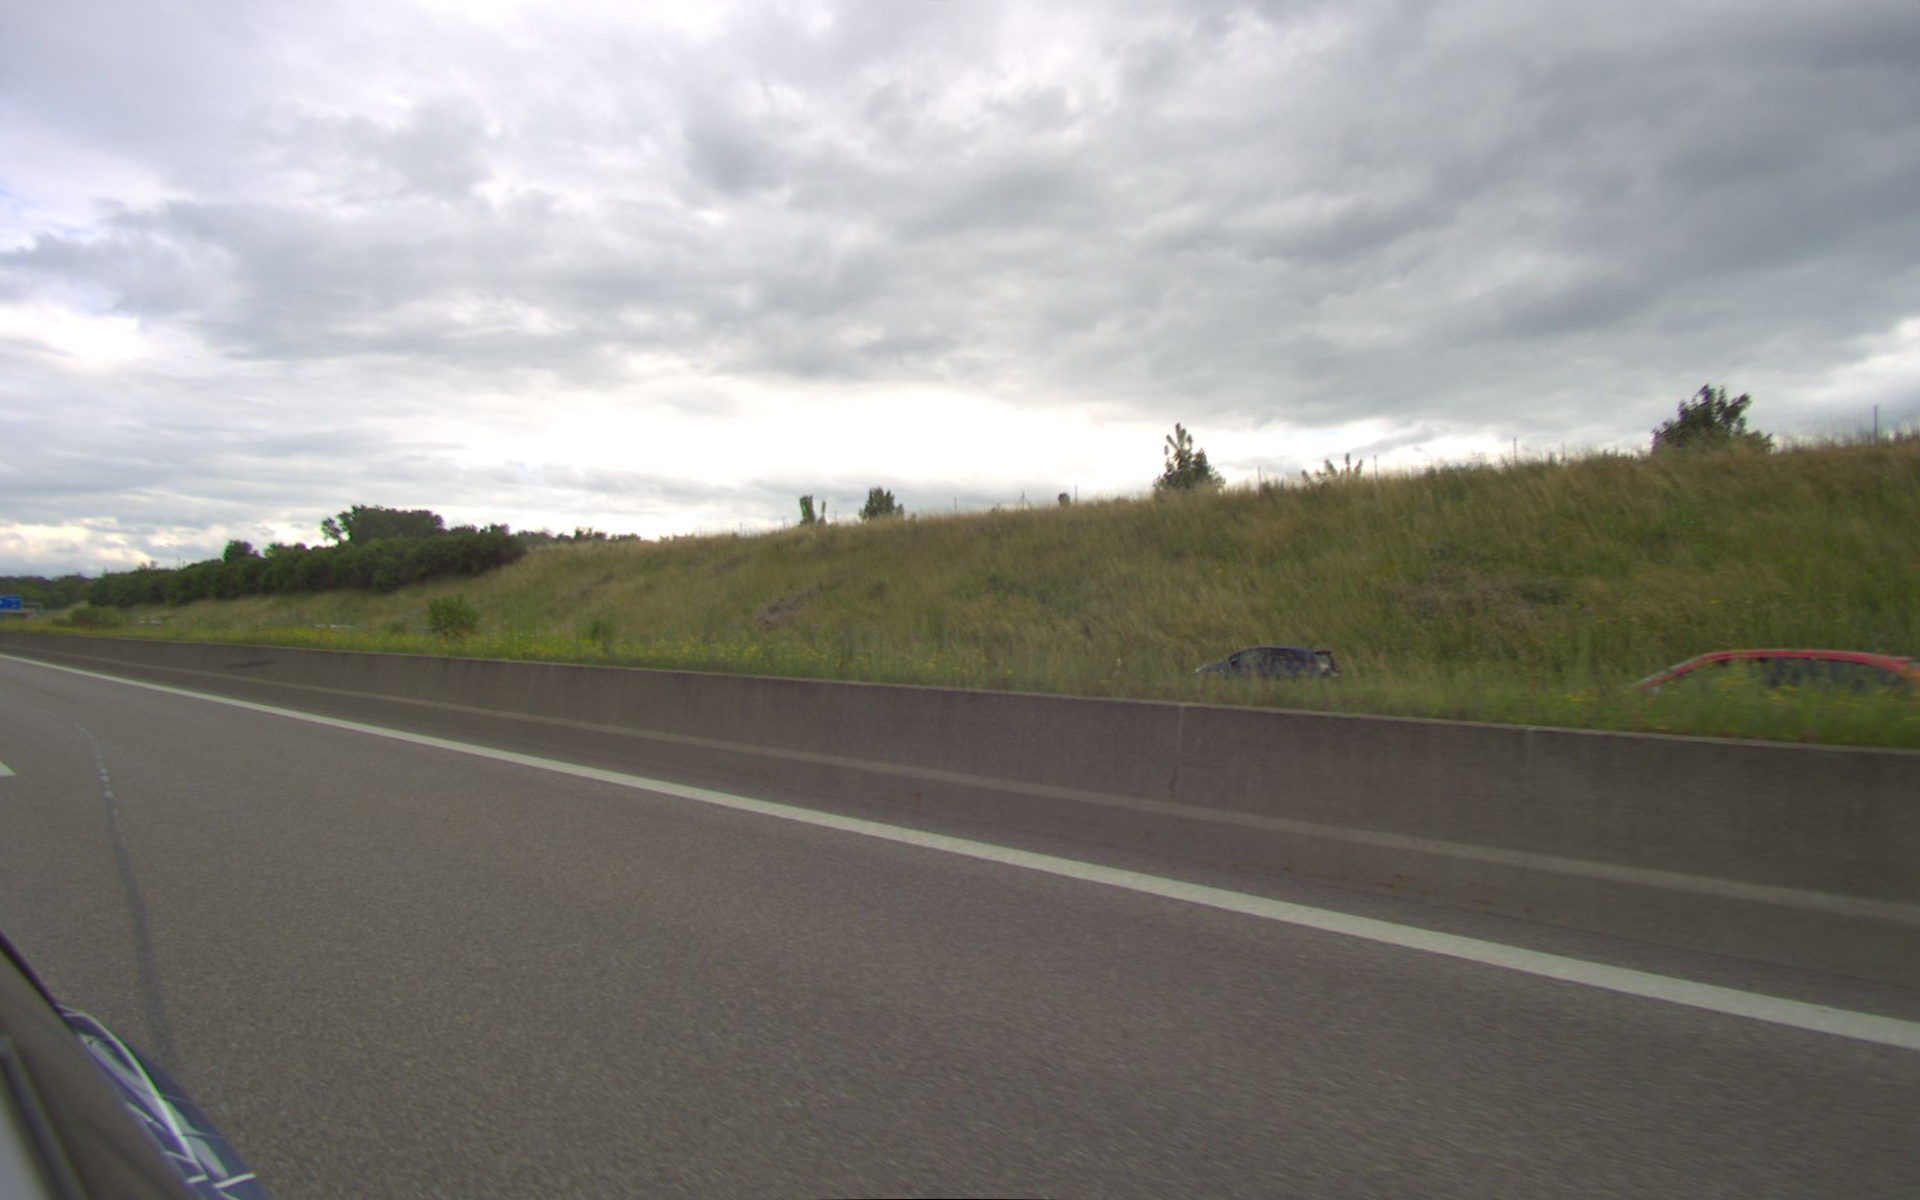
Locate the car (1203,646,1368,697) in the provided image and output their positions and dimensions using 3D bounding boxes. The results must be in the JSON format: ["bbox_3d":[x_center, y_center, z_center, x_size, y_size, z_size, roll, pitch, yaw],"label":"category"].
[{"bbox_3d":[8.803,1.885,27.556,3.998,1.216,1.635,-1,-2,41],"label":"car"}]
